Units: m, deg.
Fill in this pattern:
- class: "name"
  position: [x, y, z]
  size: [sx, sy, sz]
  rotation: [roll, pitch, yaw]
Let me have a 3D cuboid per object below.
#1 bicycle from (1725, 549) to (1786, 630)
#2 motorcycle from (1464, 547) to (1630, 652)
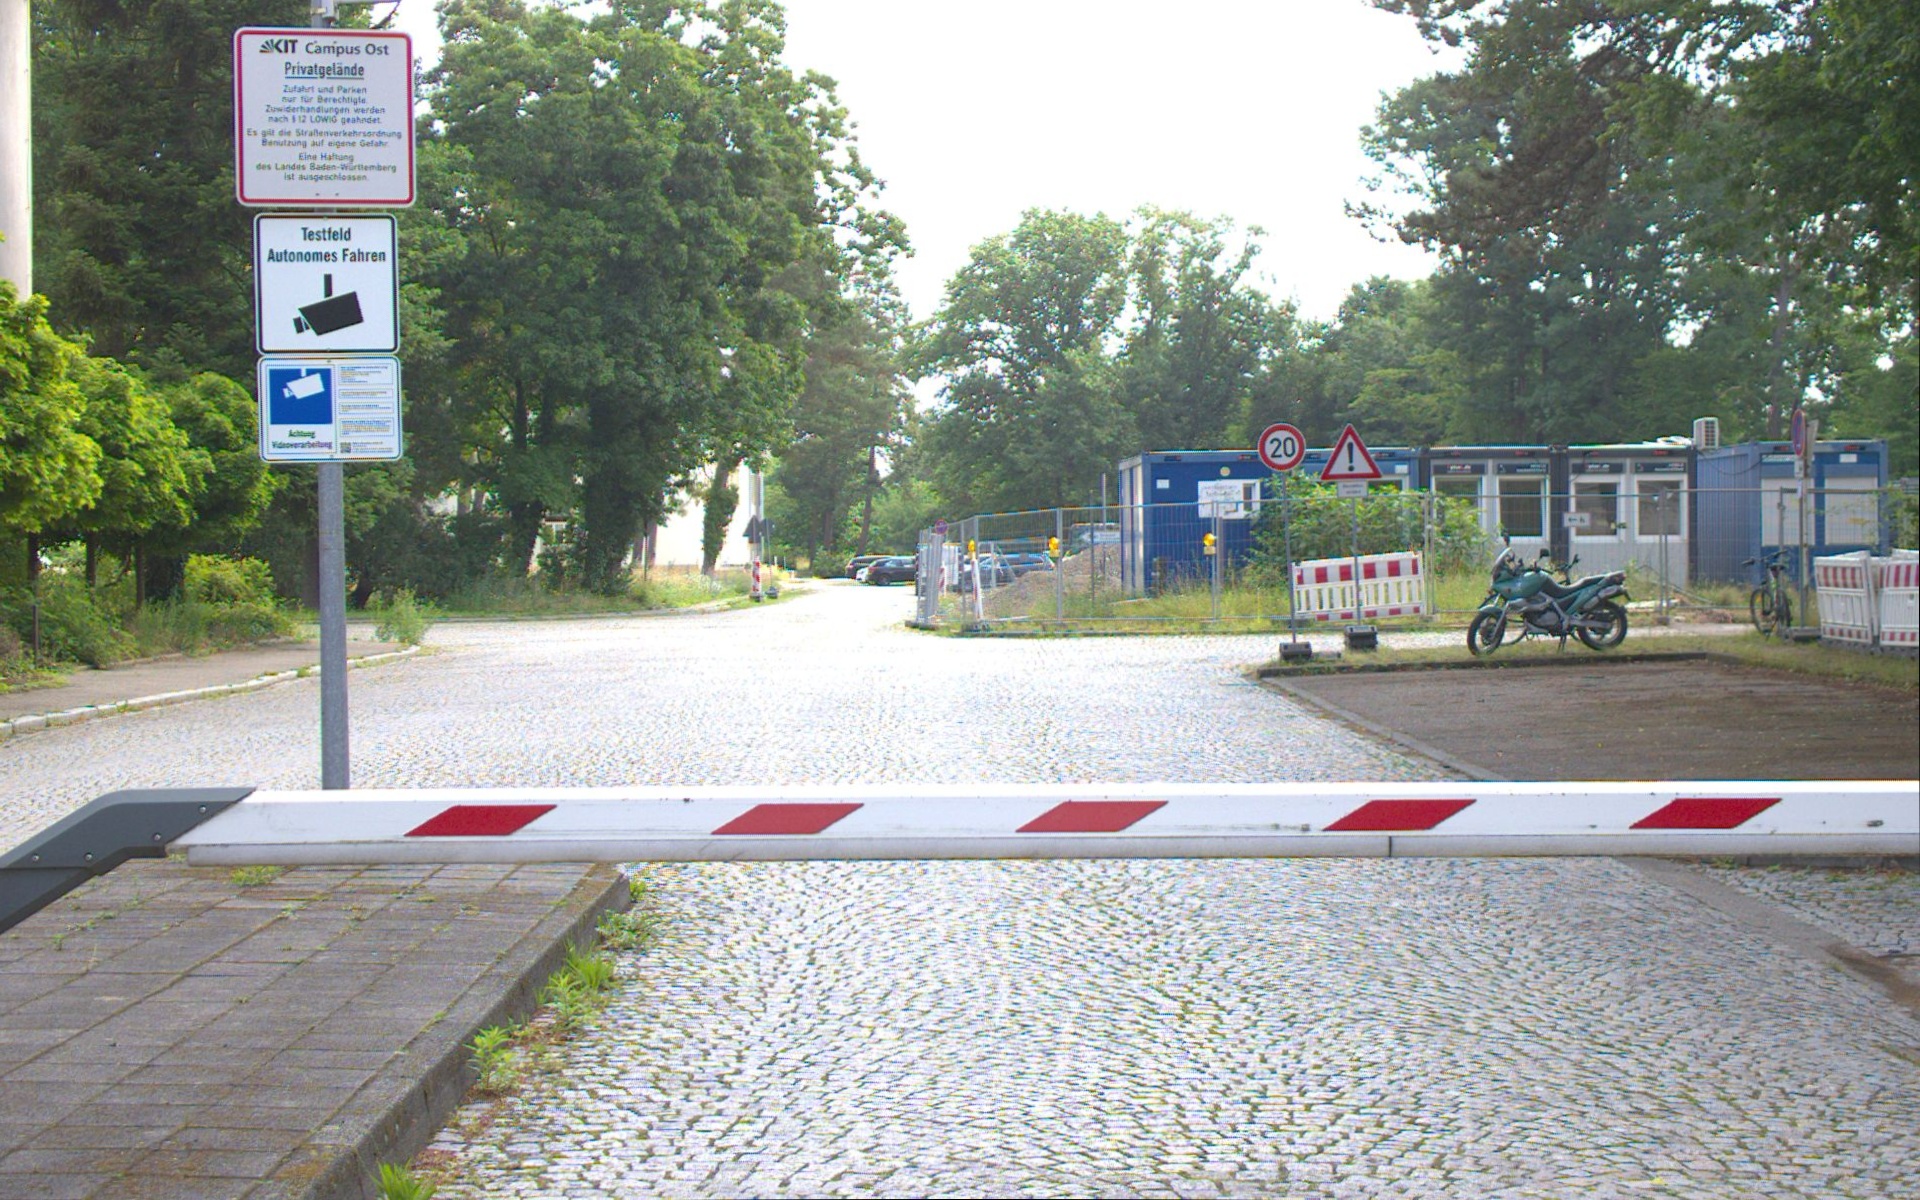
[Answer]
- class: "bicycle"
  position: [10.249, -0.124, 44.321]
  size: [0.332, 1.004, 1.726]
  rotation: [-1, -1, -1]
- class: "motorcycle"
  position: [7.304, -0.009, 42.765]
  size: [1.956, 1.191, 0.461]
  rotation: [-2, 6, -2]
